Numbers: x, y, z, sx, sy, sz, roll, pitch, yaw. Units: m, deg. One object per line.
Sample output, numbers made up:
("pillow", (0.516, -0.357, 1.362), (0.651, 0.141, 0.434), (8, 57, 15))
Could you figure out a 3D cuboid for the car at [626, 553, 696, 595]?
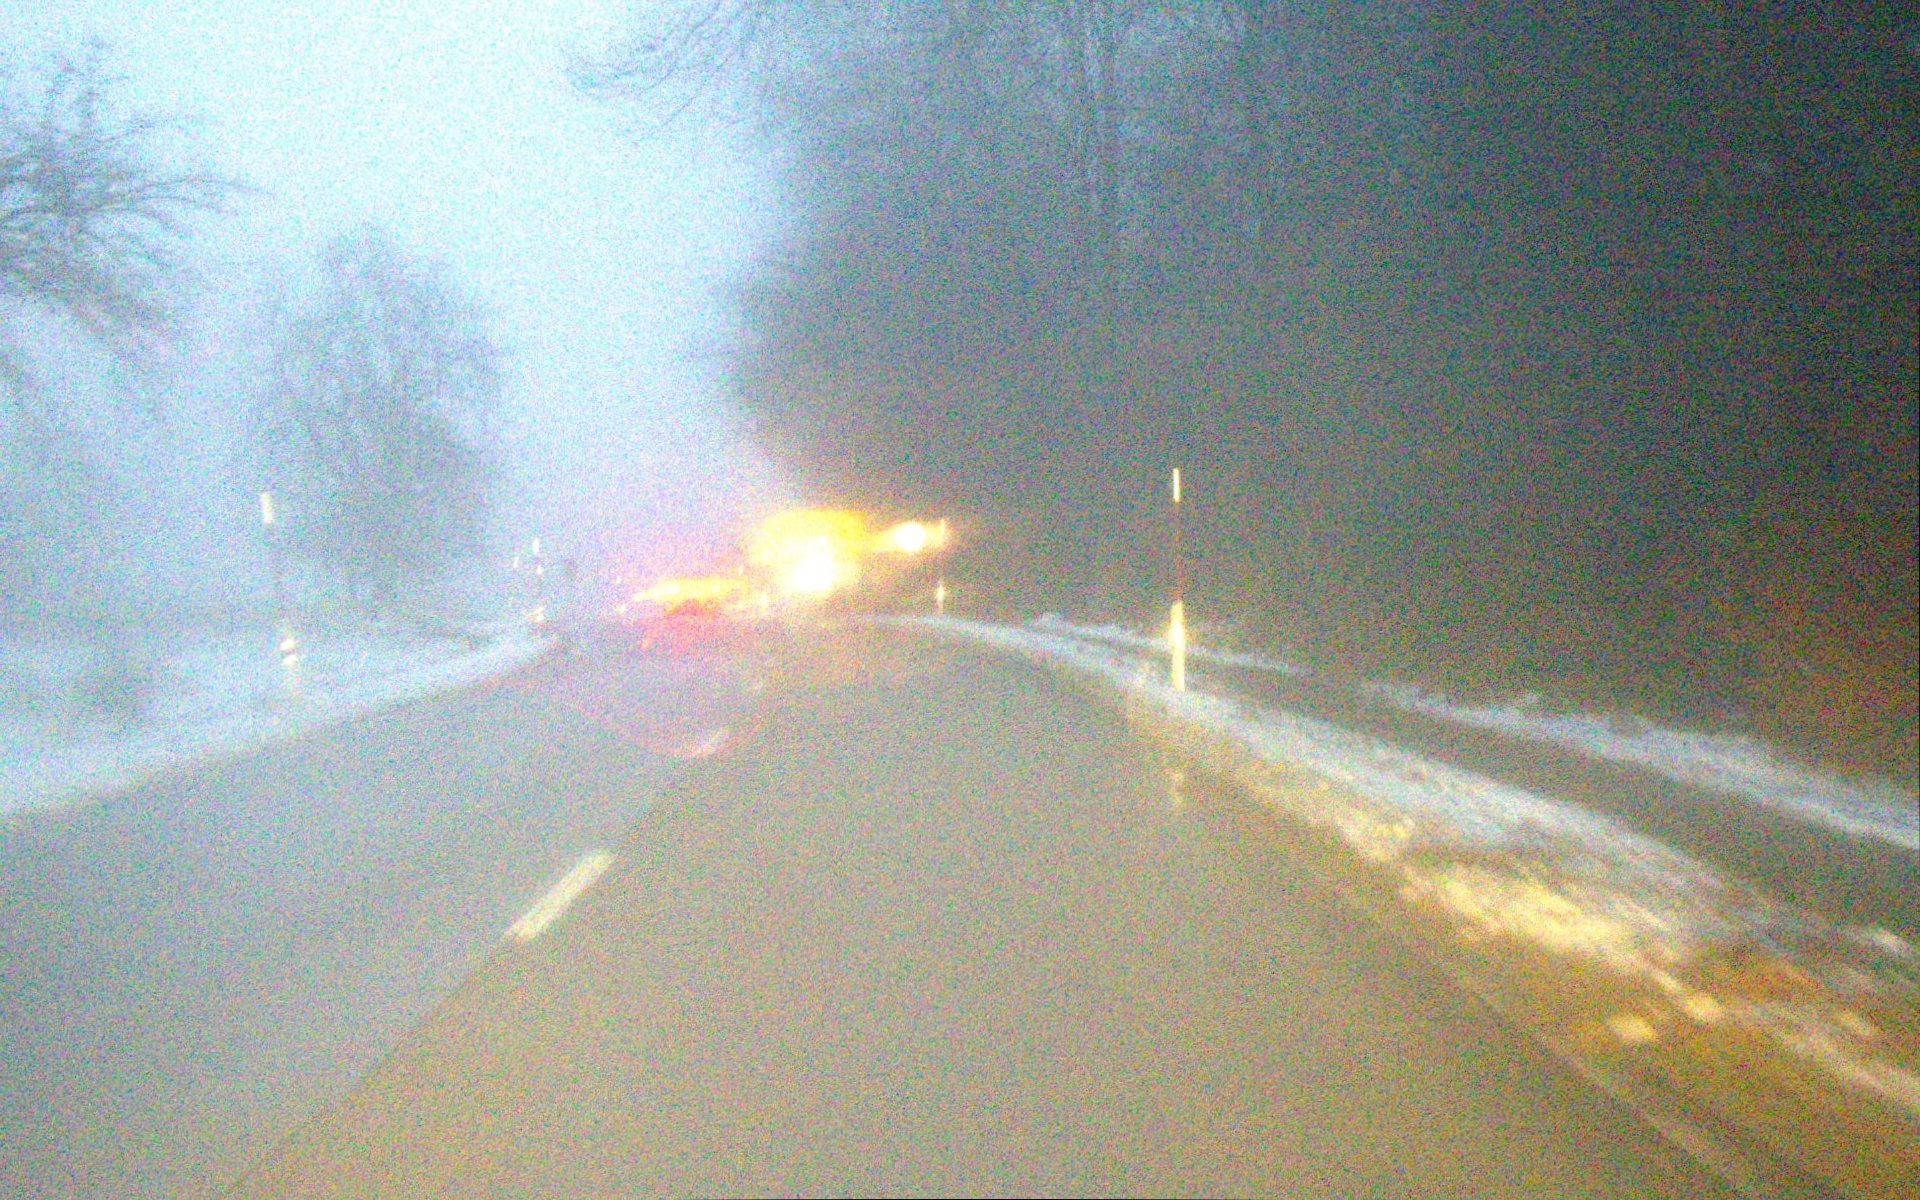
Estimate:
("car", (-9.652, -0.853, 111.074), (1.922, 1.272, 4.000), (-1, 1, -1))
